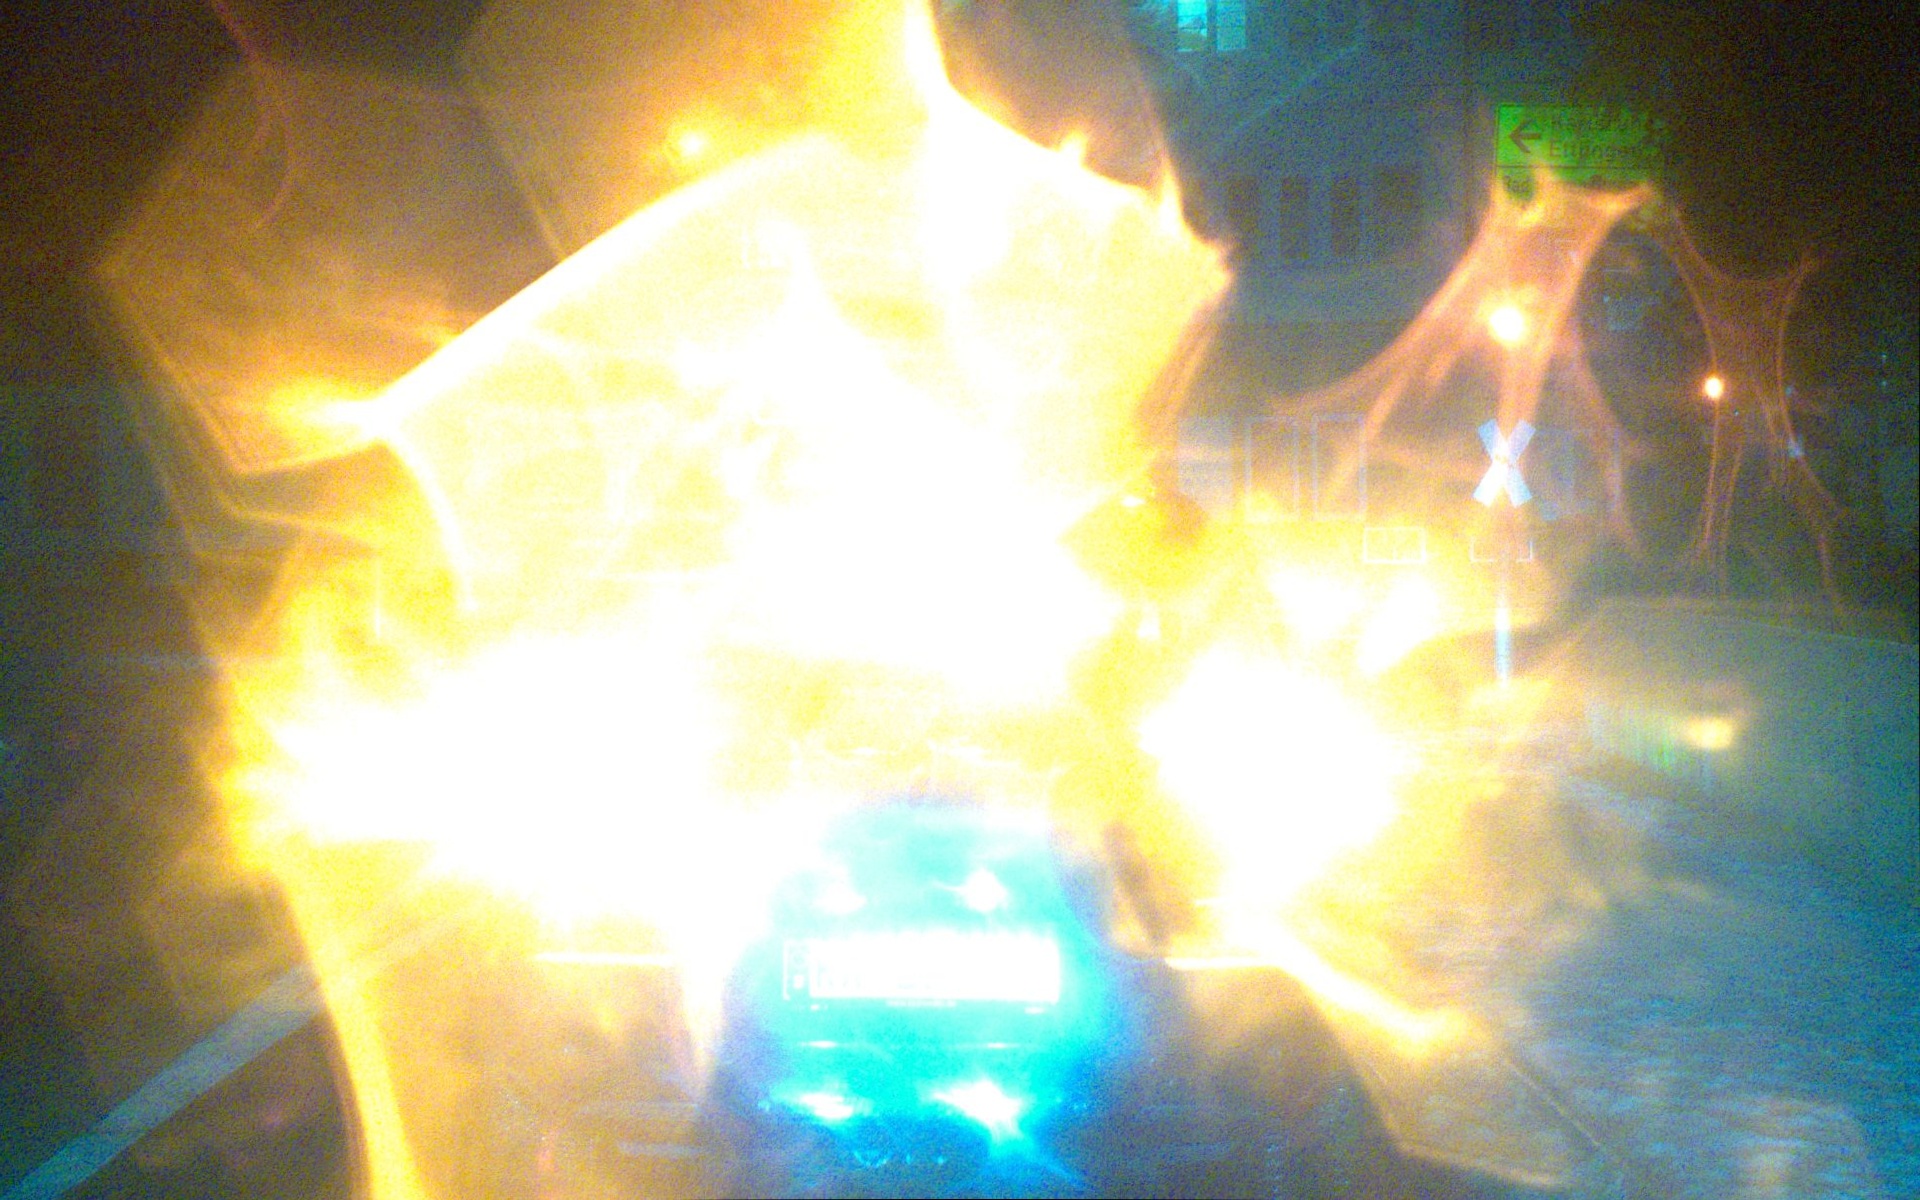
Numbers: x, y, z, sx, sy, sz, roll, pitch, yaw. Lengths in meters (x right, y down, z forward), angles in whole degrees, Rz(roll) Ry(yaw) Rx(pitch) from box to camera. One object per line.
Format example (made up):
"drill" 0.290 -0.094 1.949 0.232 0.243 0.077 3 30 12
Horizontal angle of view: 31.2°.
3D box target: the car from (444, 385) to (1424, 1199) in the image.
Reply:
"car" -0.017 0.376 8.257 1.791 1.675 3.905 0 2 1

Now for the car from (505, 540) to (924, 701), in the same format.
"car" -2.979 0.262 42.080 4.688 1.787 1.999 -2 -1 13

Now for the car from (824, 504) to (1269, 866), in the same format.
"car" 0.447 0.283 15.582 1.744 1.410 4.000 -1 2 3
